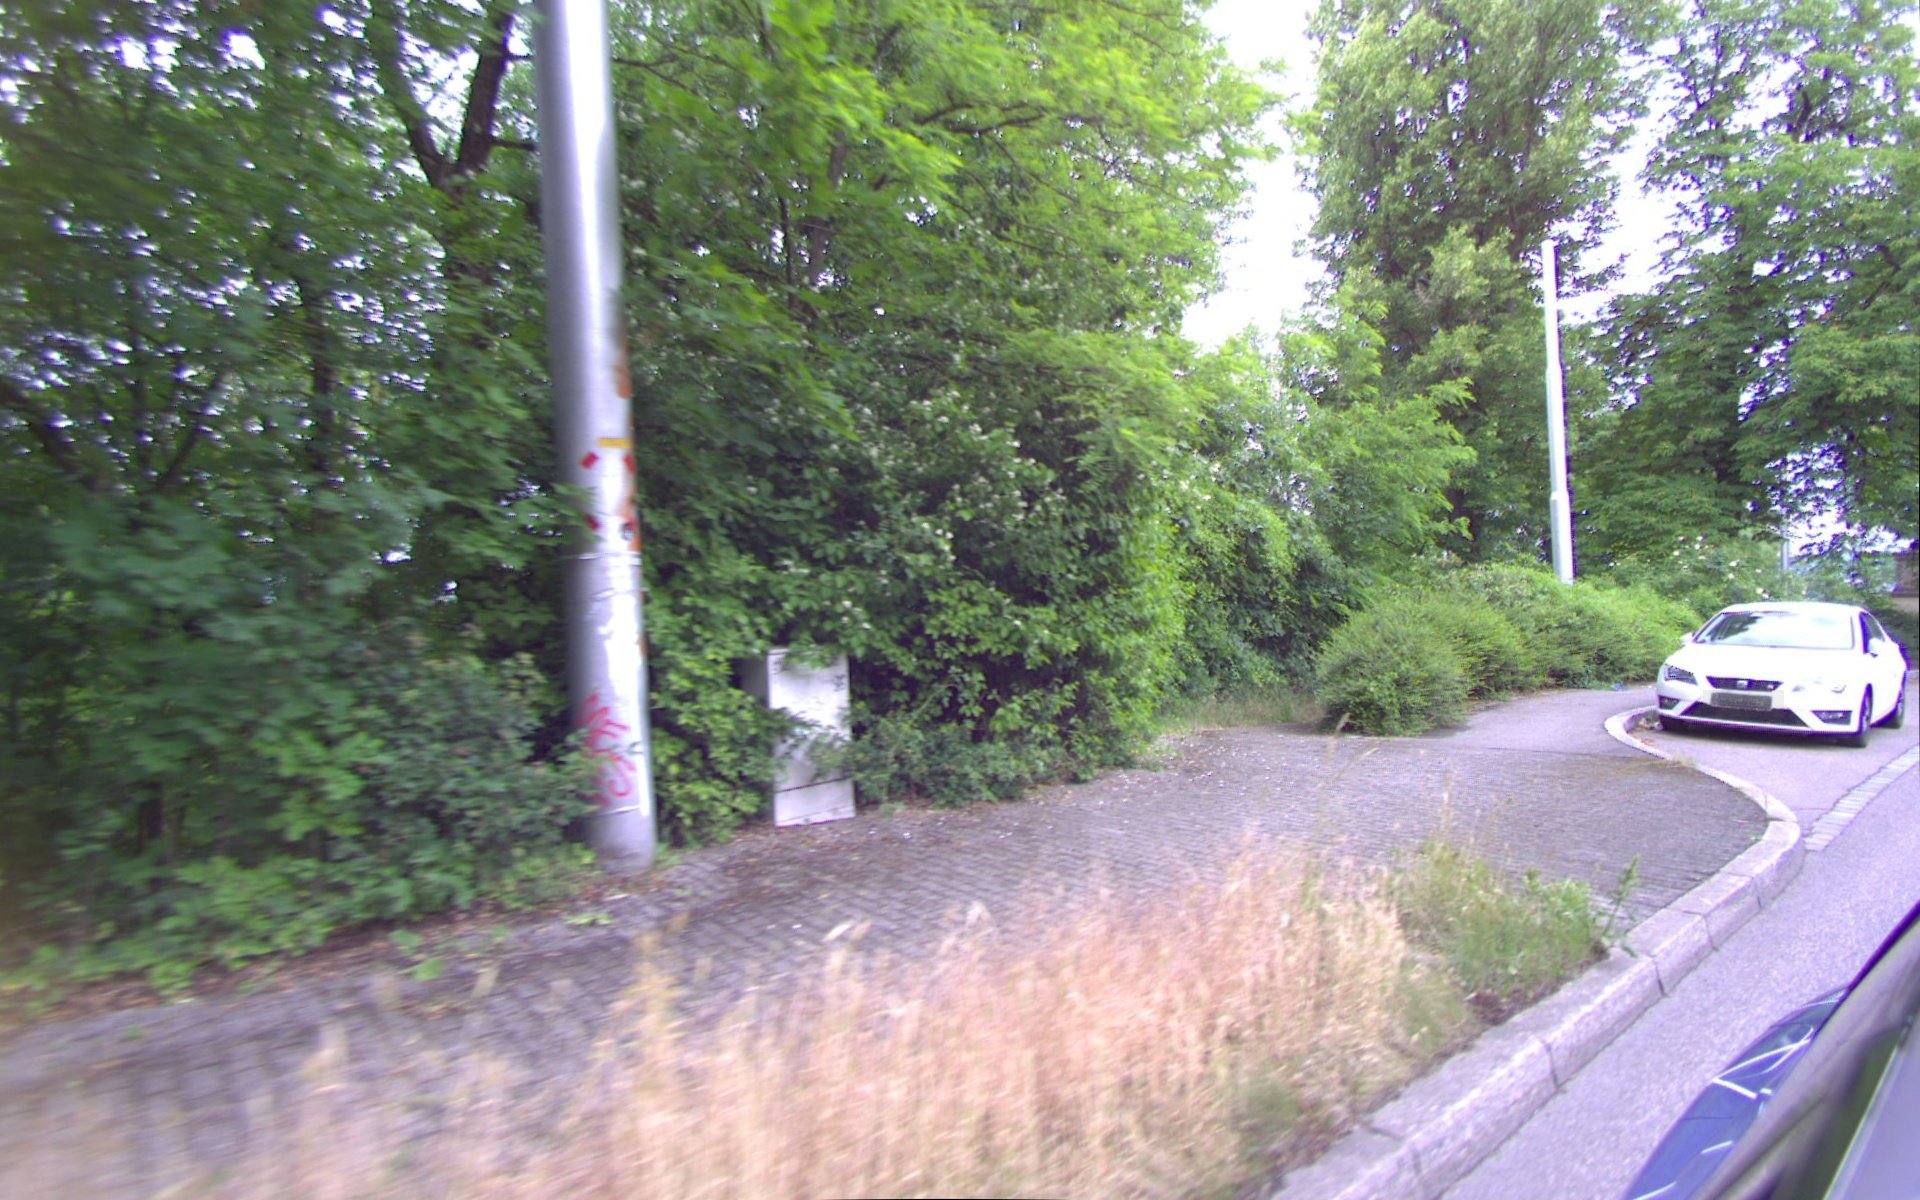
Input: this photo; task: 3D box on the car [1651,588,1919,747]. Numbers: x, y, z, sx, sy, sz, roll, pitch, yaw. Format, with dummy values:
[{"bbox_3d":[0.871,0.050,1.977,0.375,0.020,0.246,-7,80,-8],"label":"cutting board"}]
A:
[{"bbox_3d":[9.435,0.640,11.418,3.823,1.459,1.764,1,1,-41],"label":"car"}]
